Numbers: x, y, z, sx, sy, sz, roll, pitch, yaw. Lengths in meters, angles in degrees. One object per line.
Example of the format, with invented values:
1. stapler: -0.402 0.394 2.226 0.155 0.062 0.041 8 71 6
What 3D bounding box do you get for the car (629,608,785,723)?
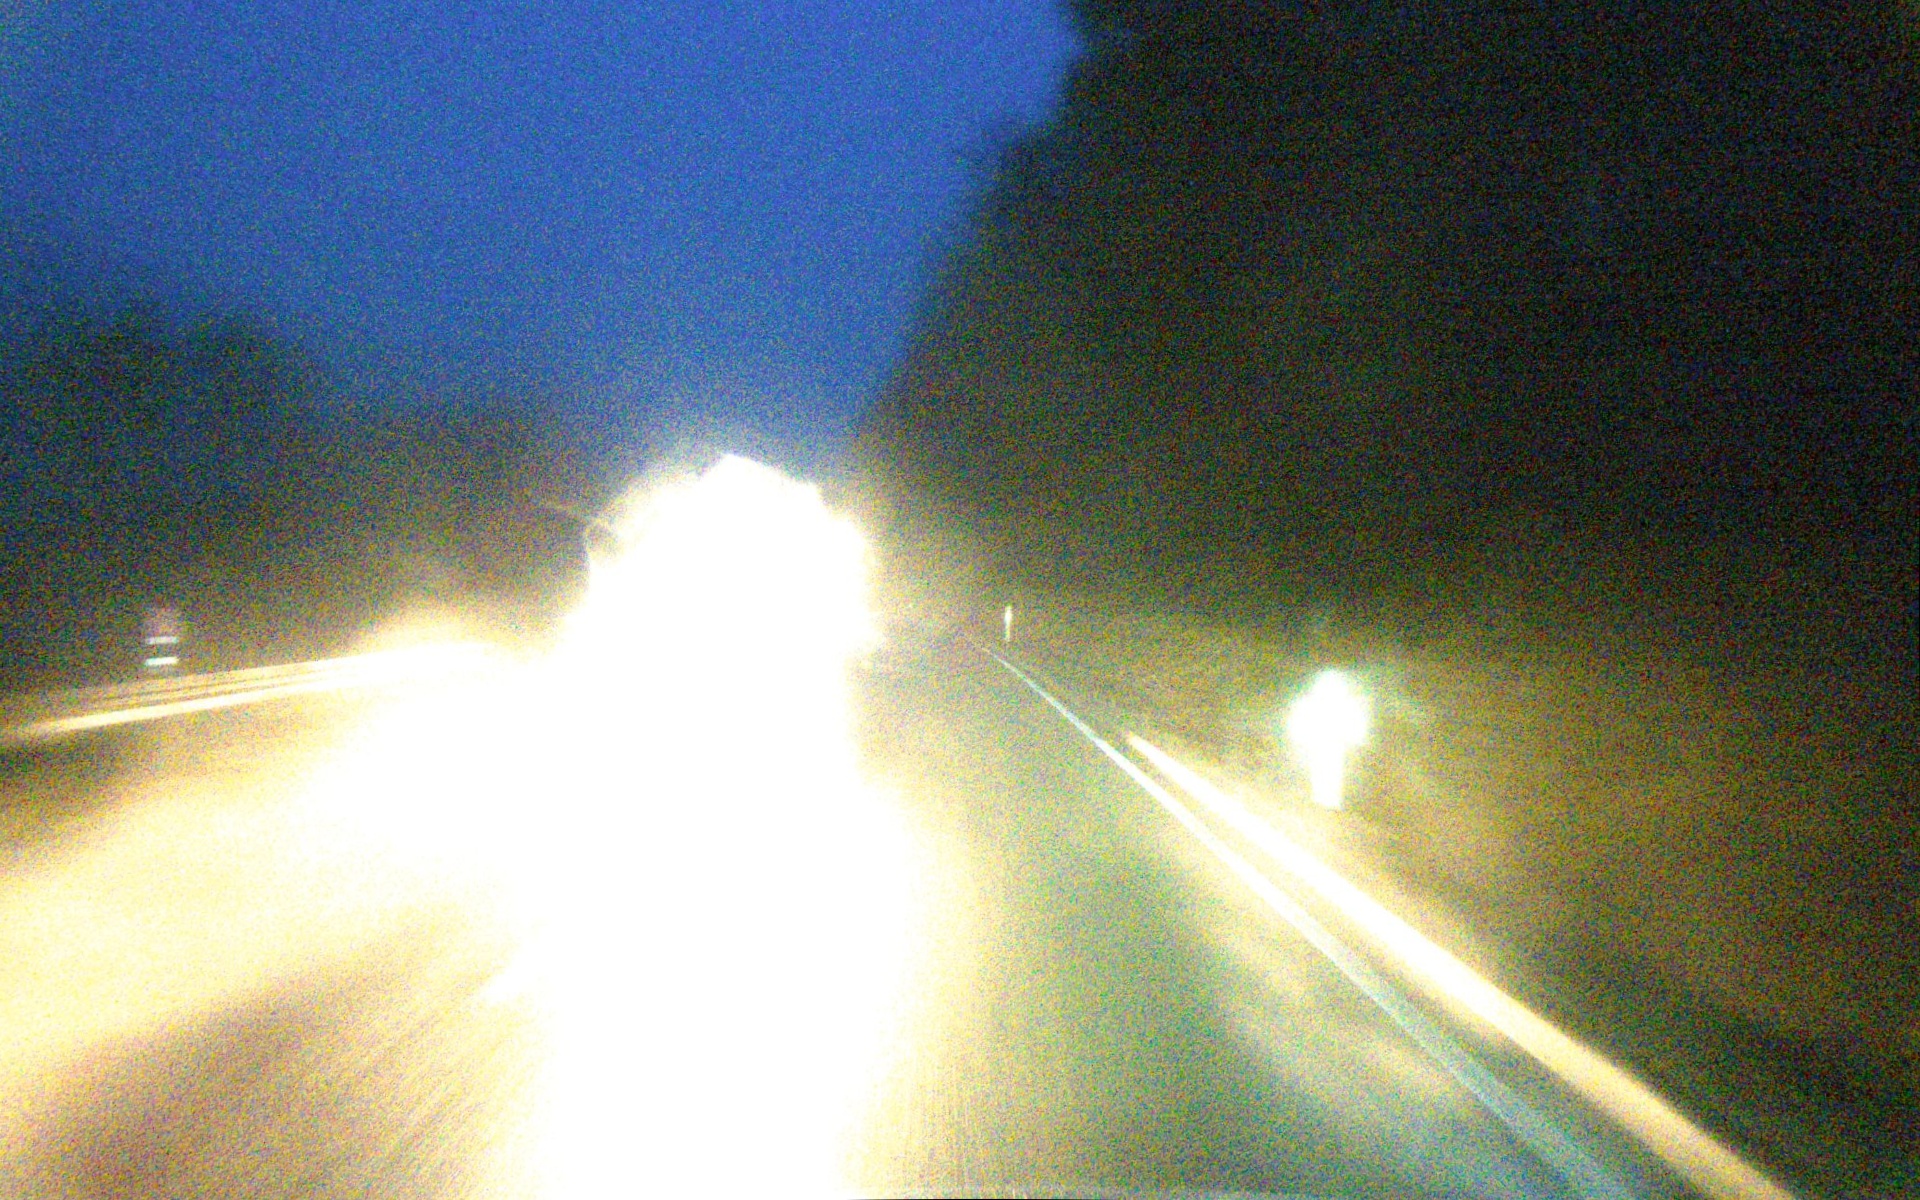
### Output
1. car: -3.917 0.962 26.330 1.818 1.548 4.679 2 0 -1
